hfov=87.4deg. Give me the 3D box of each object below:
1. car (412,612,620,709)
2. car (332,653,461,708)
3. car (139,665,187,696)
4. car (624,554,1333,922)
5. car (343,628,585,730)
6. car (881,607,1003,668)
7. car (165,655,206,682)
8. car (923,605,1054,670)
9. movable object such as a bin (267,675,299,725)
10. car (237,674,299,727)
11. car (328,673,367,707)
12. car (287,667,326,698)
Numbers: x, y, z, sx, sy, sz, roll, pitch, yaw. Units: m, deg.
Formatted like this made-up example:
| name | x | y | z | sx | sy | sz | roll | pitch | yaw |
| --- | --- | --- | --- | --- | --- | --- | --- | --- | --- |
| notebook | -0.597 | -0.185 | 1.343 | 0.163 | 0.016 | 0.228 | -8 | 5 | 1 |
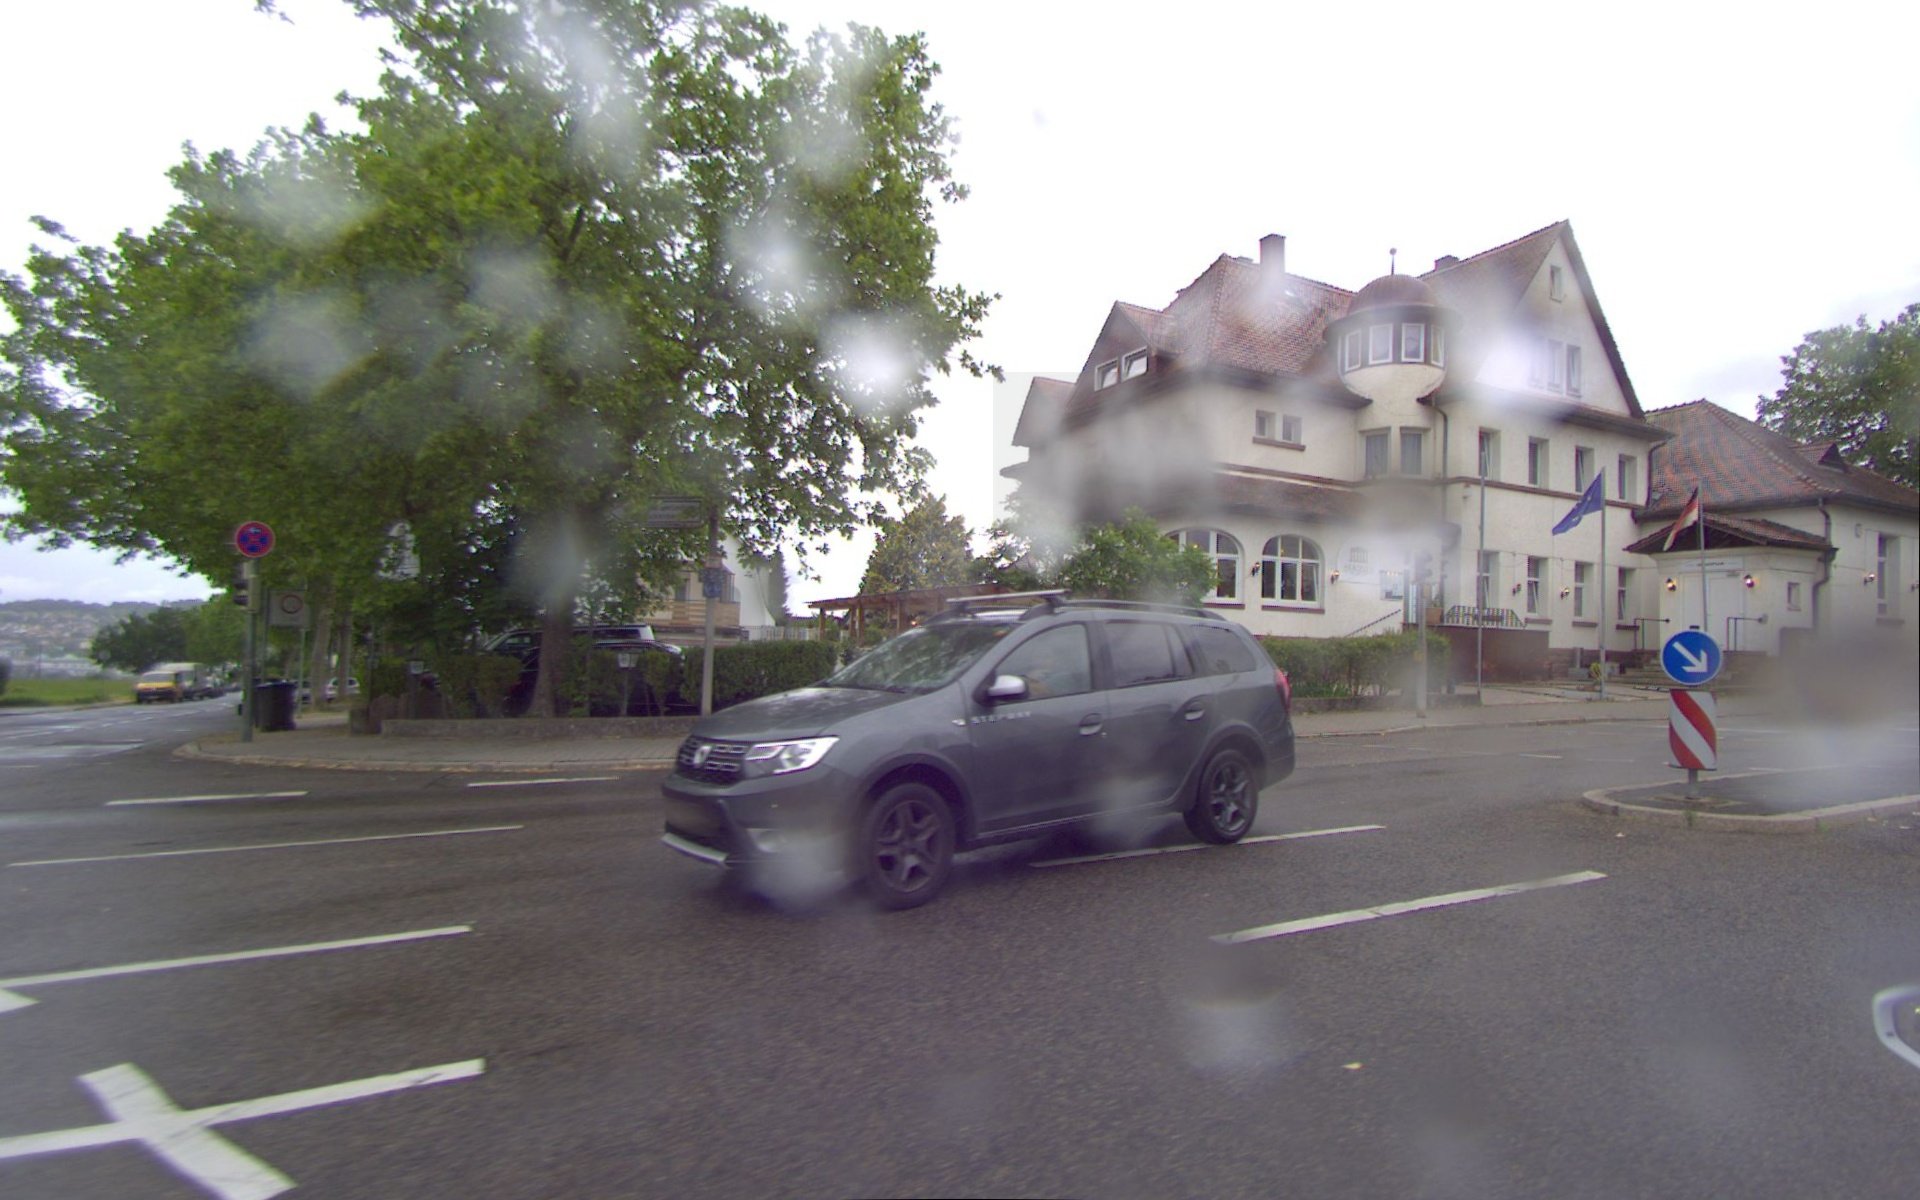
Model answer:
| name | x | y | z | sx | sy | sz | roll | pitch | yaw |
| --- | --- | --- | --- | --- | --- | --- | --- | --- | --- |
| car | -9.636 | 1.234 | 21.863 | 3.950 | 1.786 | 1.801 | -2 | 1 | -29 |
| car | -17.869 | 2.556 | 32.030 | 3.454 | 1.574 | 1.800 | 3 | -1 | -27 |
| car | -49.775 | 4.992 | 62.776 | 1.690 | 1.651 | 3.657 | 2 | -1 | -29 |
| car | 0.361 | 0.670 | 6.528 | 4.464 | 1.598 | 1.884 | 2 | -2 | -39 |
| car | -9.431 | 1.430 | 19.268 | 3.950 | 1.573 | 1.801 | -2 | 1 | -29 |
| car | -0.629 | 1.378 | 36.642 | 3.954 | 2.040 | 1.984 | 3 | -1 | -31 |
| car | -54.642 | 4.808 | 70.919 | 1.690 | 1.651 | 3.657 | 2 | -1 | -29 |
| car | 0.974 | 1.282 | 34.067 | 3.954 | 2.040 | 1.984 | 3 | -1 | -31 |
| movable object such as a bin | -14.991 | 2.200 | 22.245 | 0.404 | 1.057 | 0.450 | 2 | 0 | -11 |
| car | -28.778 | 4.149 | 41.870 | 1.690 | 1.832 | 3.657 | 2 | -1 | -29 |
| car | -35.658 | 5.238 | 58.574 | 1.690 | 1.651 | 3.657 | 2 | -1 | -29 |
| car | -40.930 | 5.159 | 62.938 | 1.690 | 1.651 | 3.657 | 2 | -1 | -29 |
